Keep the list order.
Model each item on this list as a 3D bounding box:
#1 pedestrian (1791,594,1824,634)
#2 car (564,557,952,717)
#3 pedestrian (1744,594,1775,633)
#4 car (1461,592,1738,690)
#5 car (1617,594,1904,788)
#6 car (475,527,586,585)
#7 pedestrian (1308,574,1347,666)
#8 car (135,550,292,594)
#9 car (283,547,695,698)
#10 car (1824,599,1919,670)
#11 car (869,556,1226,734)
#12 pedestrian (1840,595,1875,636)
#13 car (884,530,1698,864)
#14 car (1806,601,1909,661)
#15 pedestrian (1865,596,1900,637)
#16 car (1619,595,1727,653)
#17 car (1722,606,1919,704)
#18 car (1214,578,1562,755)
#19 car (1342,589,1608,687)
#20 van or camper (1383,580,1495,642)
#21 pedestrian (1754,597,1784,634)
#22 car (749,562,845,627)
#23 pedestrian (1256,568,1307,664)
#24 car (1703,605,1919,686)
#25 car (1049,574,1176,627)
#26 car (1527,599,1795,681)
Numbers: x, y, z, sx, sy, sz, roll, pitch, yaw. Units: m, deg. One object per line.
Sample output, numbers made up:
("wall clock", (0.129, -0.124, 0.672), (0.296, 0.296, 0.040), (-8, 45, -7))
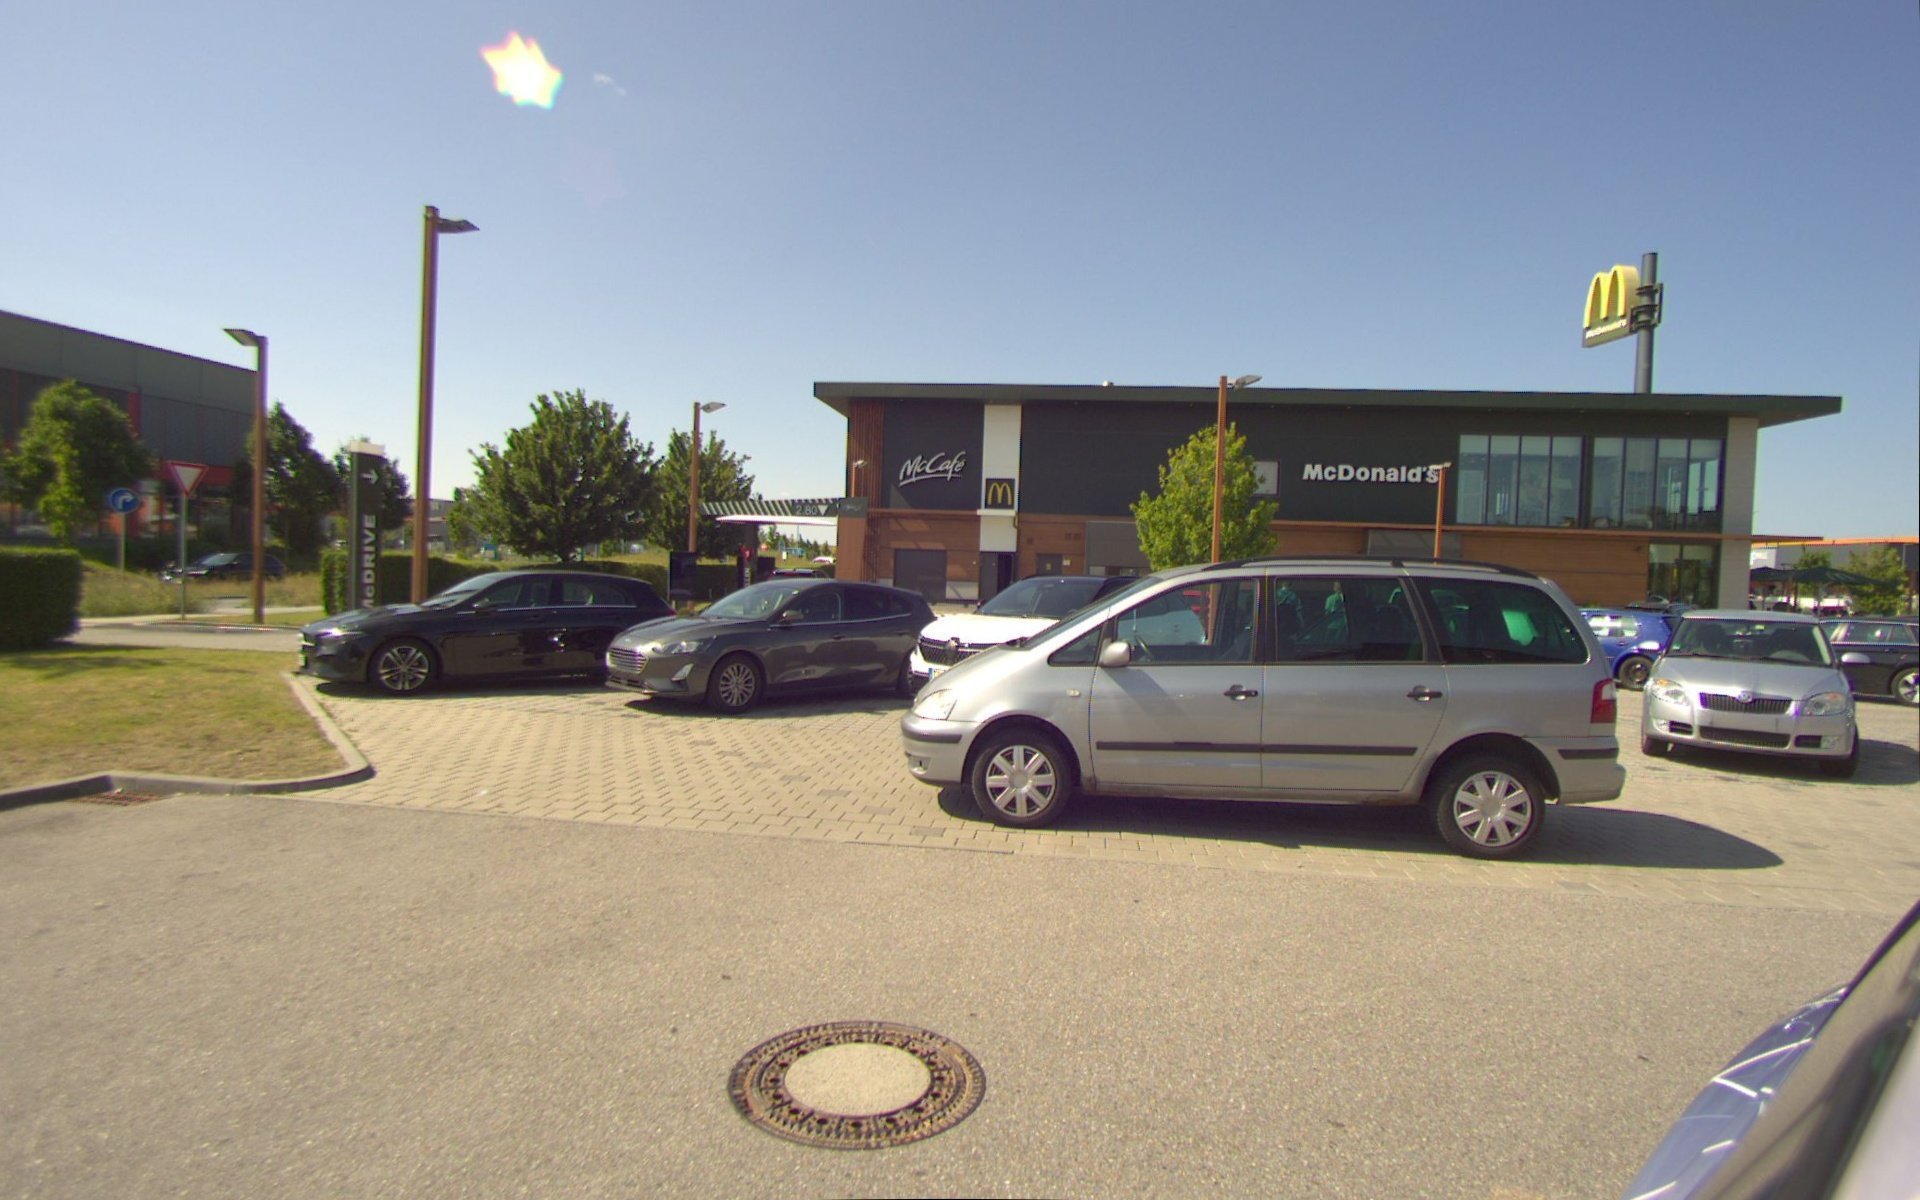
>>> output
("pedestrian", (34.384, 0.554, 41.050), (0.690, 1.579, 0.721), (2, 1, 7))
("car", (-2.247, 0.350, 12.034), (1.969, 1.545, 4.140), (3, 1, 43))
("pedestrian", (33.558, 0.559, 42.475), (0.707, 1.579, 0.703), (2, 1, -22))
("car", (12.139, 0.689, 19.453), (1.780, 1.534, 4.114), (1, 2, -37))
("car", (8.289, 0.767, 10.729), (1.964, 1.545, 4.152), (3, 1, 36))
("car", (-18.082, -1.796, 42.901), (1.966, 2.224, 5.096), (2, 1, 7))
("pedestrian", (7.385, 0.391, 20.332), (0.551, 1.790, 0.459), (2, 1, 44))
("car", (-29.945, -1.084, 40.803), (1.977, 1.645, 4.770), (2, 1, 22))
("car", (-5.725, 0.223, 12.536), (4.254, 1.545, 1.974), (1, 2, -39))
("car", (22.484, 0.830, 22.518), (1.861, 1.505, 4.644), (1, 2, -37))
("car", (1.164, 0.420, 11.792), (1.969, 1.675, 4.141), (3, 1, 43))
("pedestrian", (35.970, 0.620, 40.557), (0.690, 1.579, 0.721), (2, 1, 7))
("car", (1.929, 0.508, 6.884), (4.602, 1.770, 1.830), (2, 1, 7))
("car", (27.347, 0.916, 30.813), (3.963, 1.633, 1.715), (1, 1, -40))
("pedestrian", (37.135, 0.658, 40.760), (0.690, 1.579, 0.721), (2, 1, 7))
("car", (22.039, 0.718, 31.249), (3.963, 1.633, 1.715), (1, 1, -40))
("car", (16.247, 0.946, 17.728), (1.780, 1.505, 4.279), (1, 2, -37))
("car", (5.022, 0.609, 11.477), (1.970, 1.545, 4.767), (3, 1, 45))
("car", (9.543, 0.618, 19.050), (1.680, 1.511, 4.114), (1, 2, -37))
("van or camper", (15.227, 0.345, 32.087), (3.957, 1.797, 1.709), (1, 1, -41))
("pedestrian", (34.929, 0.661, 43.697), (0.707, 1.579, 0.703), (2, 1, -22))
("car", (-4.731, -0.210, 29.991), (1.960, 1.712, 4.234), (2, 2, 2))
("pedestrian", (6.495, 0.314, 20.490), (0.820, 1.873, 0.768), (2, 1, 9))
("car", (19.456, 0.954, 22.267), (1.861, 1.505, 4.644), (1, 2, -37))
("car", (5.189, 0.017, 34.075), (4.393, 1.622, 1.958), (1, 1, -44))
("car", (15.731, 0.808, 22.961), (1.861, 1.505, 4.644), (1, 2, -37))
